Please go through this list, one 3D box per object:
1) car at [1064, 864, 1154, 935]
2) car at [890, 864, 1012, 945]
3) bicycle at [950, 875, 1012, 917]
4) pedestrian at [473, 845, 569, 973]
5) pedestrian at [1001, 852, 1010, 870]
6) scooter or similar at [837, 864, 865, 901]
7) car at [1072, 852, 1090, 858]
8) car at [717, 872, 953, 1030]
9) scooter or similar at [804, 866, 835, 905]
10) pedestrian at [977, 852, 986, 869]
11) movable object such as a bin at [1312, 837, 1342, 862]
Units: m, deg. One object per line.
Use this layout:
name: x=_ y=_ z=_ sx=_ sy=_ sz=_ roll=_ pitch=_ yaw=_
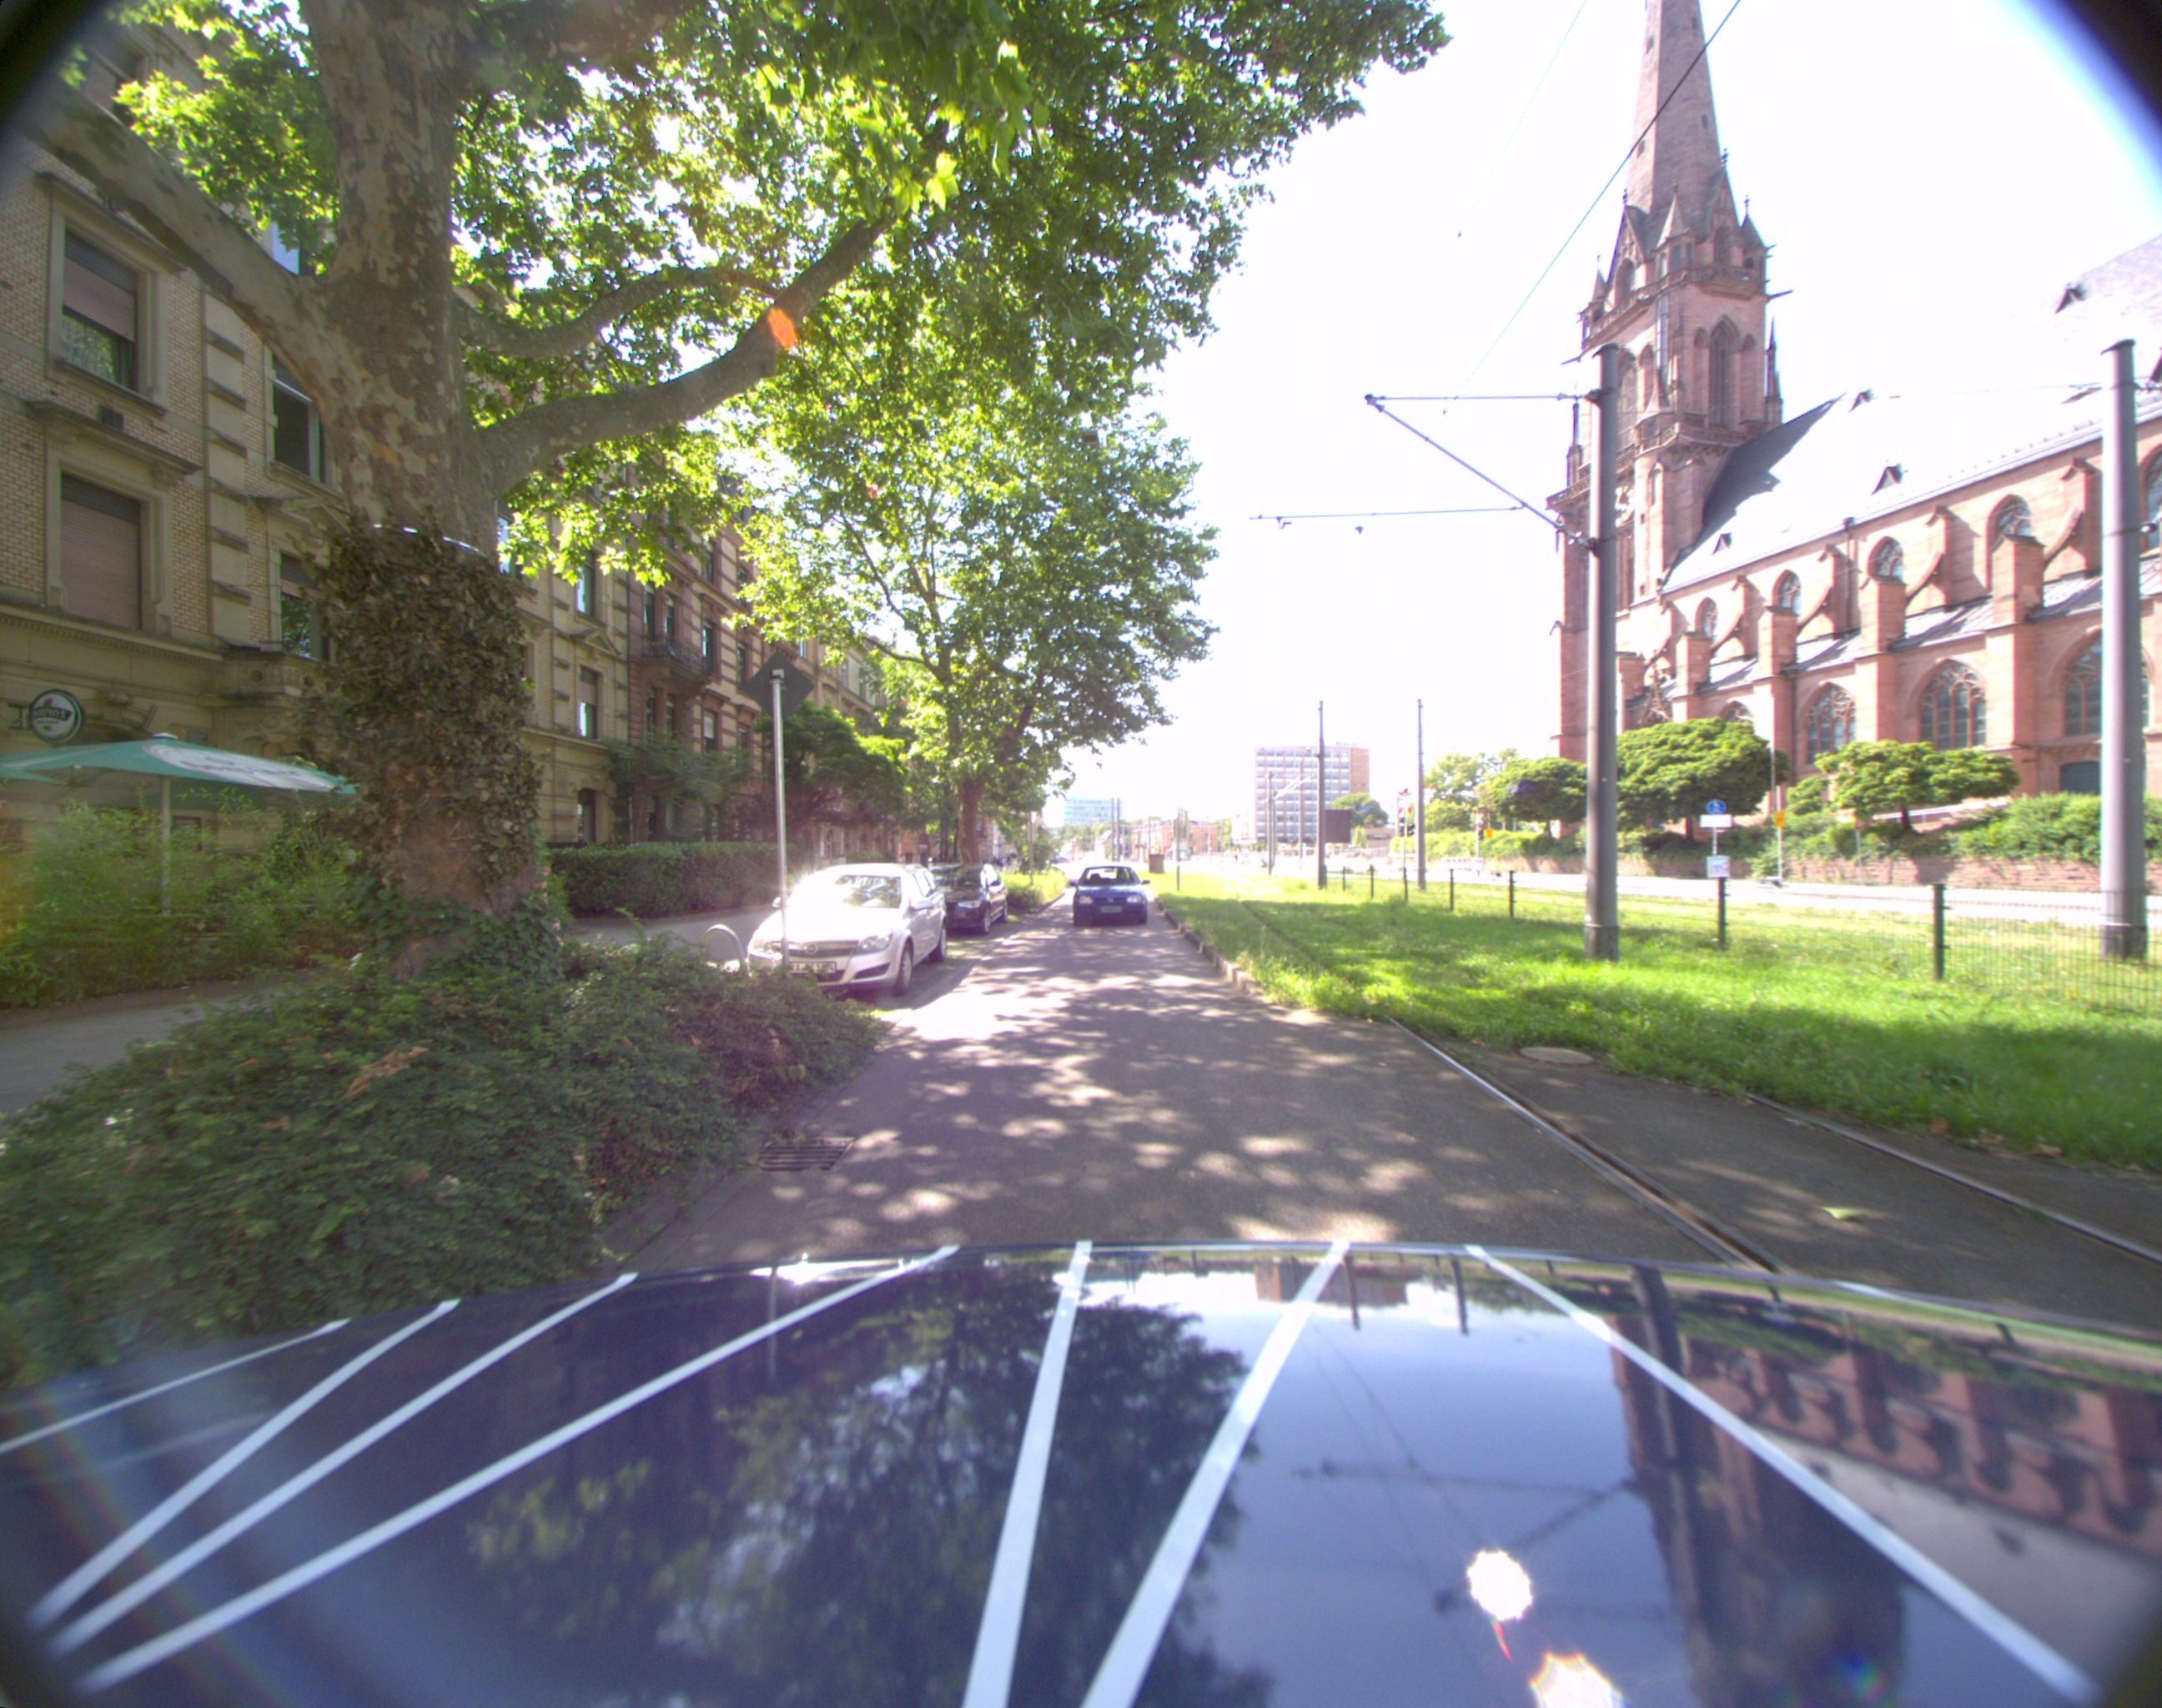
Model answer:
car: x=0.638 y=0.997 z=18.151 sx=1.886 sy=1.401 sz=4.093 roll=-2 pitch=0 yaw=1
car: x=-2.737 y=1.008 z=17.042 sx=1.838 sy=1.499 sz=4.643 roll=0 pitch=0 yaw=1
bicycle: x=-2.772 y=1.157 z=21.155 sx=1.641 sy=1.082 sz=0.470 roll=-1 pitch=1 yaw=-33
pedestrian: x=-8.161 y=0.772 z=11.111 sx=0.738 sy=1.775 sz=0.852 roll=1 pitch=1 yaw=0
pedestrian: x=-7.245 y=0.633 z=73.126 sx=0.797 sy=1.708 sz=0.967 roll=-1 pitch=1 yaw=0
scooter or similar: x=-8.328 y=1.021 z=27.556 sx=0.583 sy=1.275 sz=1.145 roll=0 pitch=0 yaw=3
car: x=0.008 y=0.235 z=192.476 sx=3.959 sy=1.662 sz=1.827 roll=-1 pitch=0 yaw=-22
car: x=-2.904 y=1.044 z=10.057 sx=1.838 sy=1.499 sz=4.490 roll=0 pitch=0 yaw=-3
scooter or similar: x=-8.525 y=1.013 z=24.835 sx=0.583 sy=1.240 sz=1.145 roll=0 pitch=0 yaw=1
pedestrian: x=-10.488 y=0.691 z=79.867 sx=0.797 sy=1.708 sz=0.967 roll=-1 pitch=1 yaw=0
movable object such as a bin: x=37.551 y=-0.687 z=115.853 sx=3.341 sy=3.859 sz=2.932 roll=-1 pitch=1 yaw=-33
